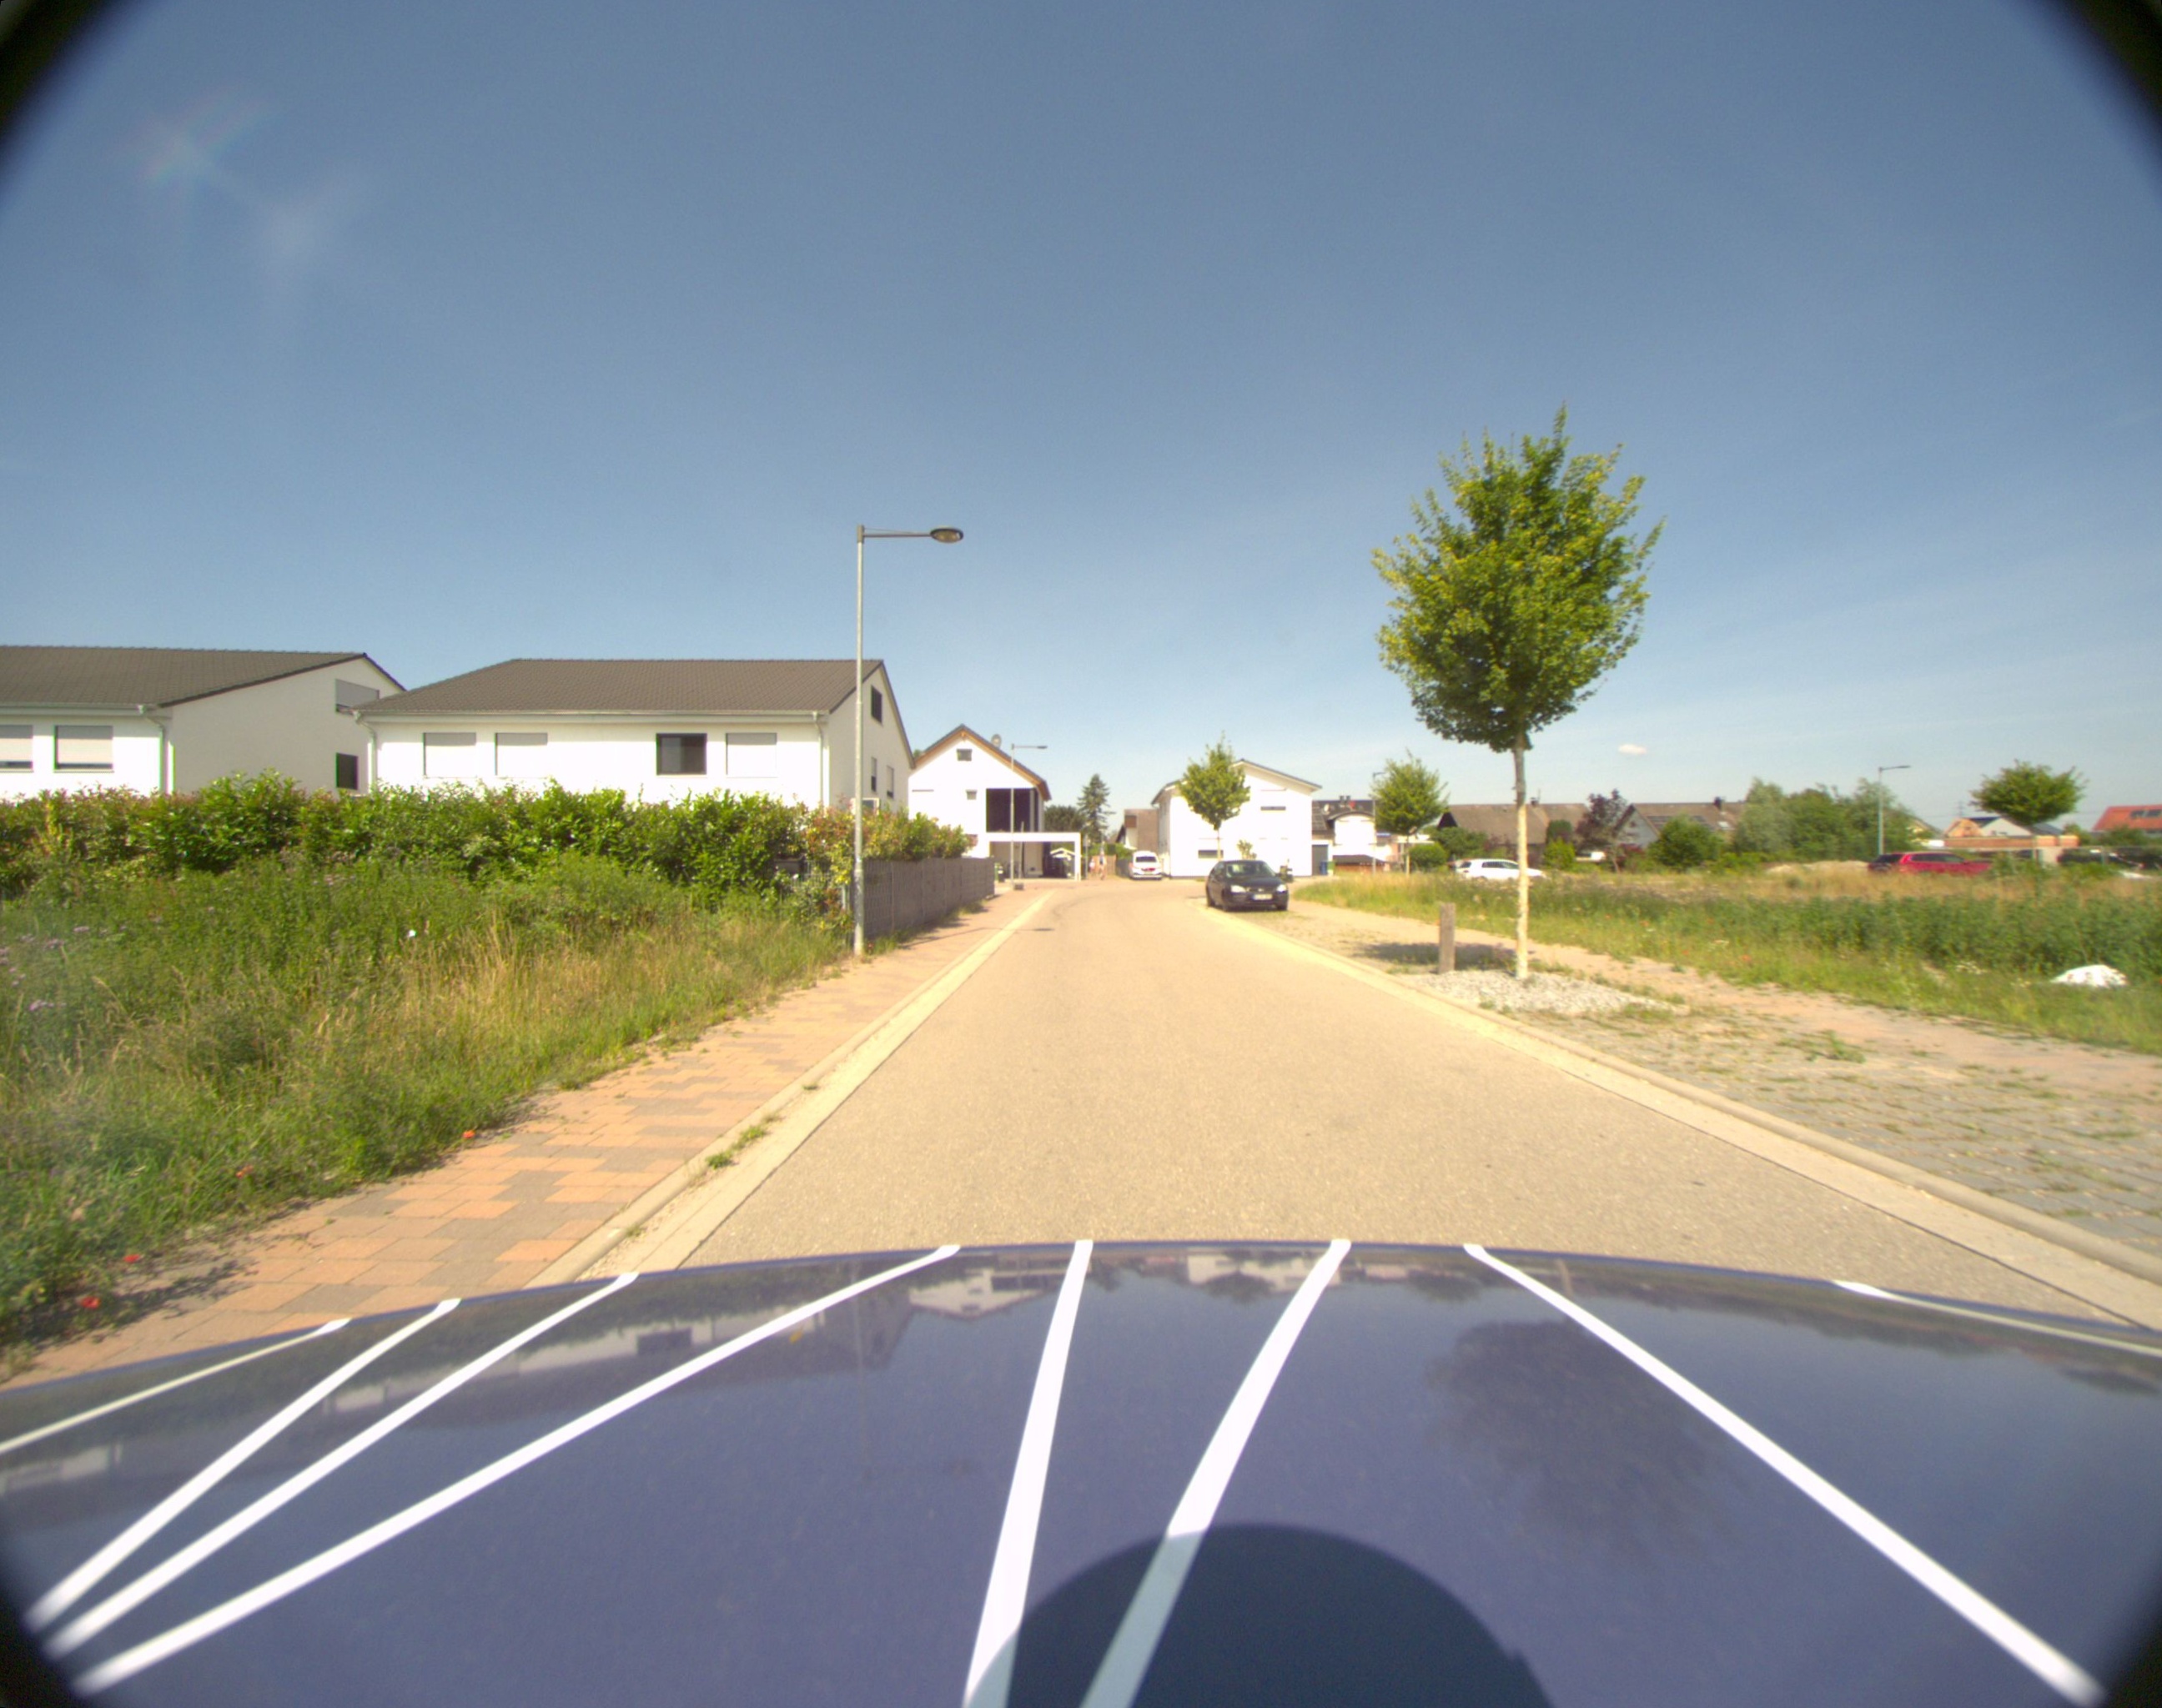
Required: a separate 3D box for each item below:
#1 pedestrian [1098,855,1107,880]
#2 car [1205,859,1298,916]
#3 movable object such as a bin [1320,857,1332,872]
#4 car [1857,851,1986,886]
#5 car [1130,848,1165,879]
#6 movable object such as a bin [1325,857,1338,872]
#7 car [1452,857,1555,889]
[{"bbox_3d":[1.471,0.895,51.108,0.550,1.710,0.820,0,0,4],"label":"pedestrian"},{"bbox_3d":[4.894,0.898,22.328,1.816,1.445,4.144,-2,0,1],"label":"car"},{"bbox_3d":[17.121,0.728,53.094,0.685,0.999,0.741,0,0,3],"label":"movable object such as a bin"},{"bbox_3d":[39.591,0.673,35.858,3.996,1.606,1.810,0,0,2],"label":"car"},{"bbox_3d":[4.229,0.572,48.761,1.855,1.874,4.559,-2,0,1],"label":"car"},{"bbox_3d":[17.245,0.733,52.270,0.685,0.999,0.741,0,0,3],"label":"movable object such as a bin"},{"bbox_3d":[20.426,0.890,36.892,3.995,1.494,1.810,0,0,6],"label":"car"}]
